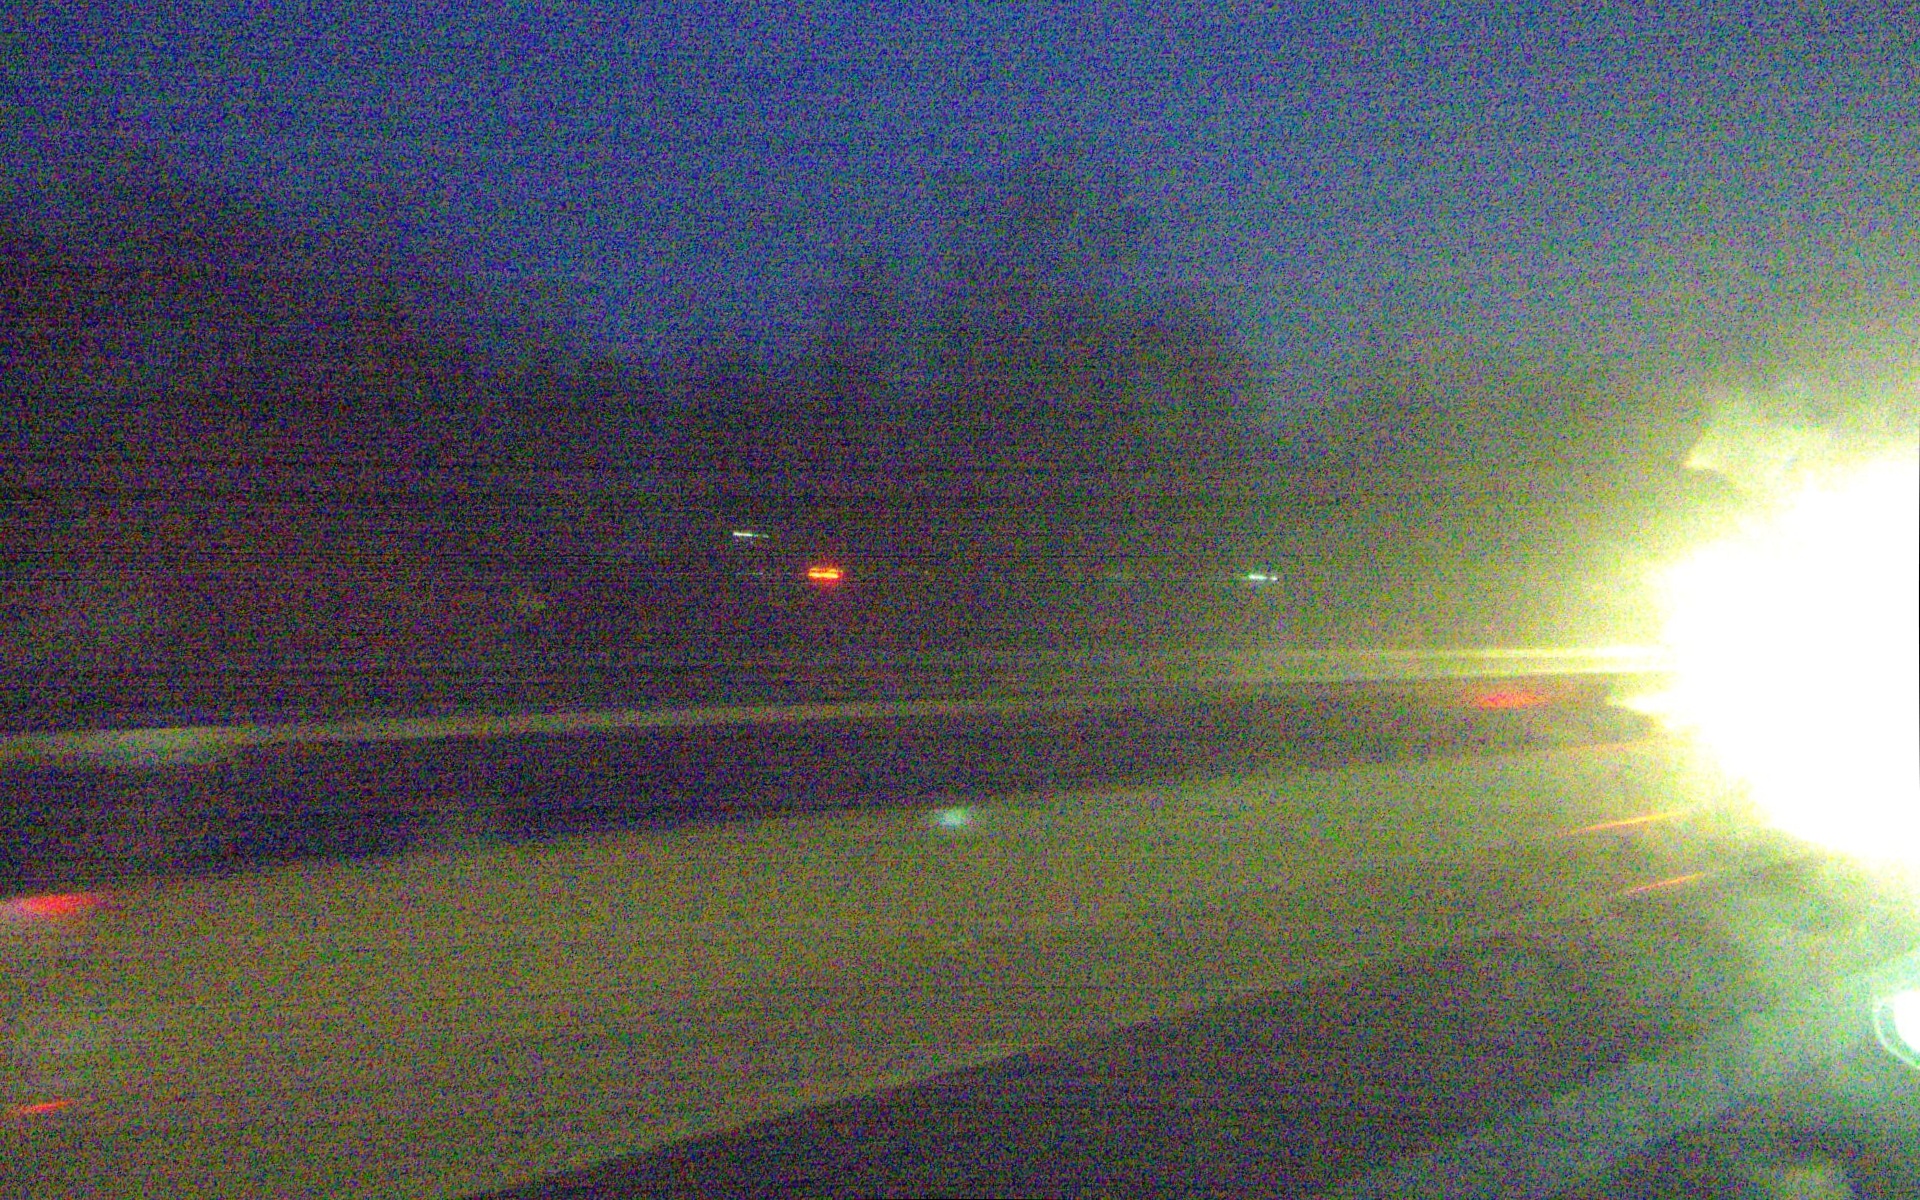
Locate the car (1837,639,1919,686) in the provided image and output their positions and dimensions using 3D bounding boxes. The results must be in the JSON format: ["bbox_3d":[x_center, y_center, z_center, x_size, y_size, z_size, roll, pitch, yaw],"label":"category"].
[{"bbox_3d":[39.672,2.637,42.943,4.239,1.743,1.983,2,2,-31],"label":"car"}]
